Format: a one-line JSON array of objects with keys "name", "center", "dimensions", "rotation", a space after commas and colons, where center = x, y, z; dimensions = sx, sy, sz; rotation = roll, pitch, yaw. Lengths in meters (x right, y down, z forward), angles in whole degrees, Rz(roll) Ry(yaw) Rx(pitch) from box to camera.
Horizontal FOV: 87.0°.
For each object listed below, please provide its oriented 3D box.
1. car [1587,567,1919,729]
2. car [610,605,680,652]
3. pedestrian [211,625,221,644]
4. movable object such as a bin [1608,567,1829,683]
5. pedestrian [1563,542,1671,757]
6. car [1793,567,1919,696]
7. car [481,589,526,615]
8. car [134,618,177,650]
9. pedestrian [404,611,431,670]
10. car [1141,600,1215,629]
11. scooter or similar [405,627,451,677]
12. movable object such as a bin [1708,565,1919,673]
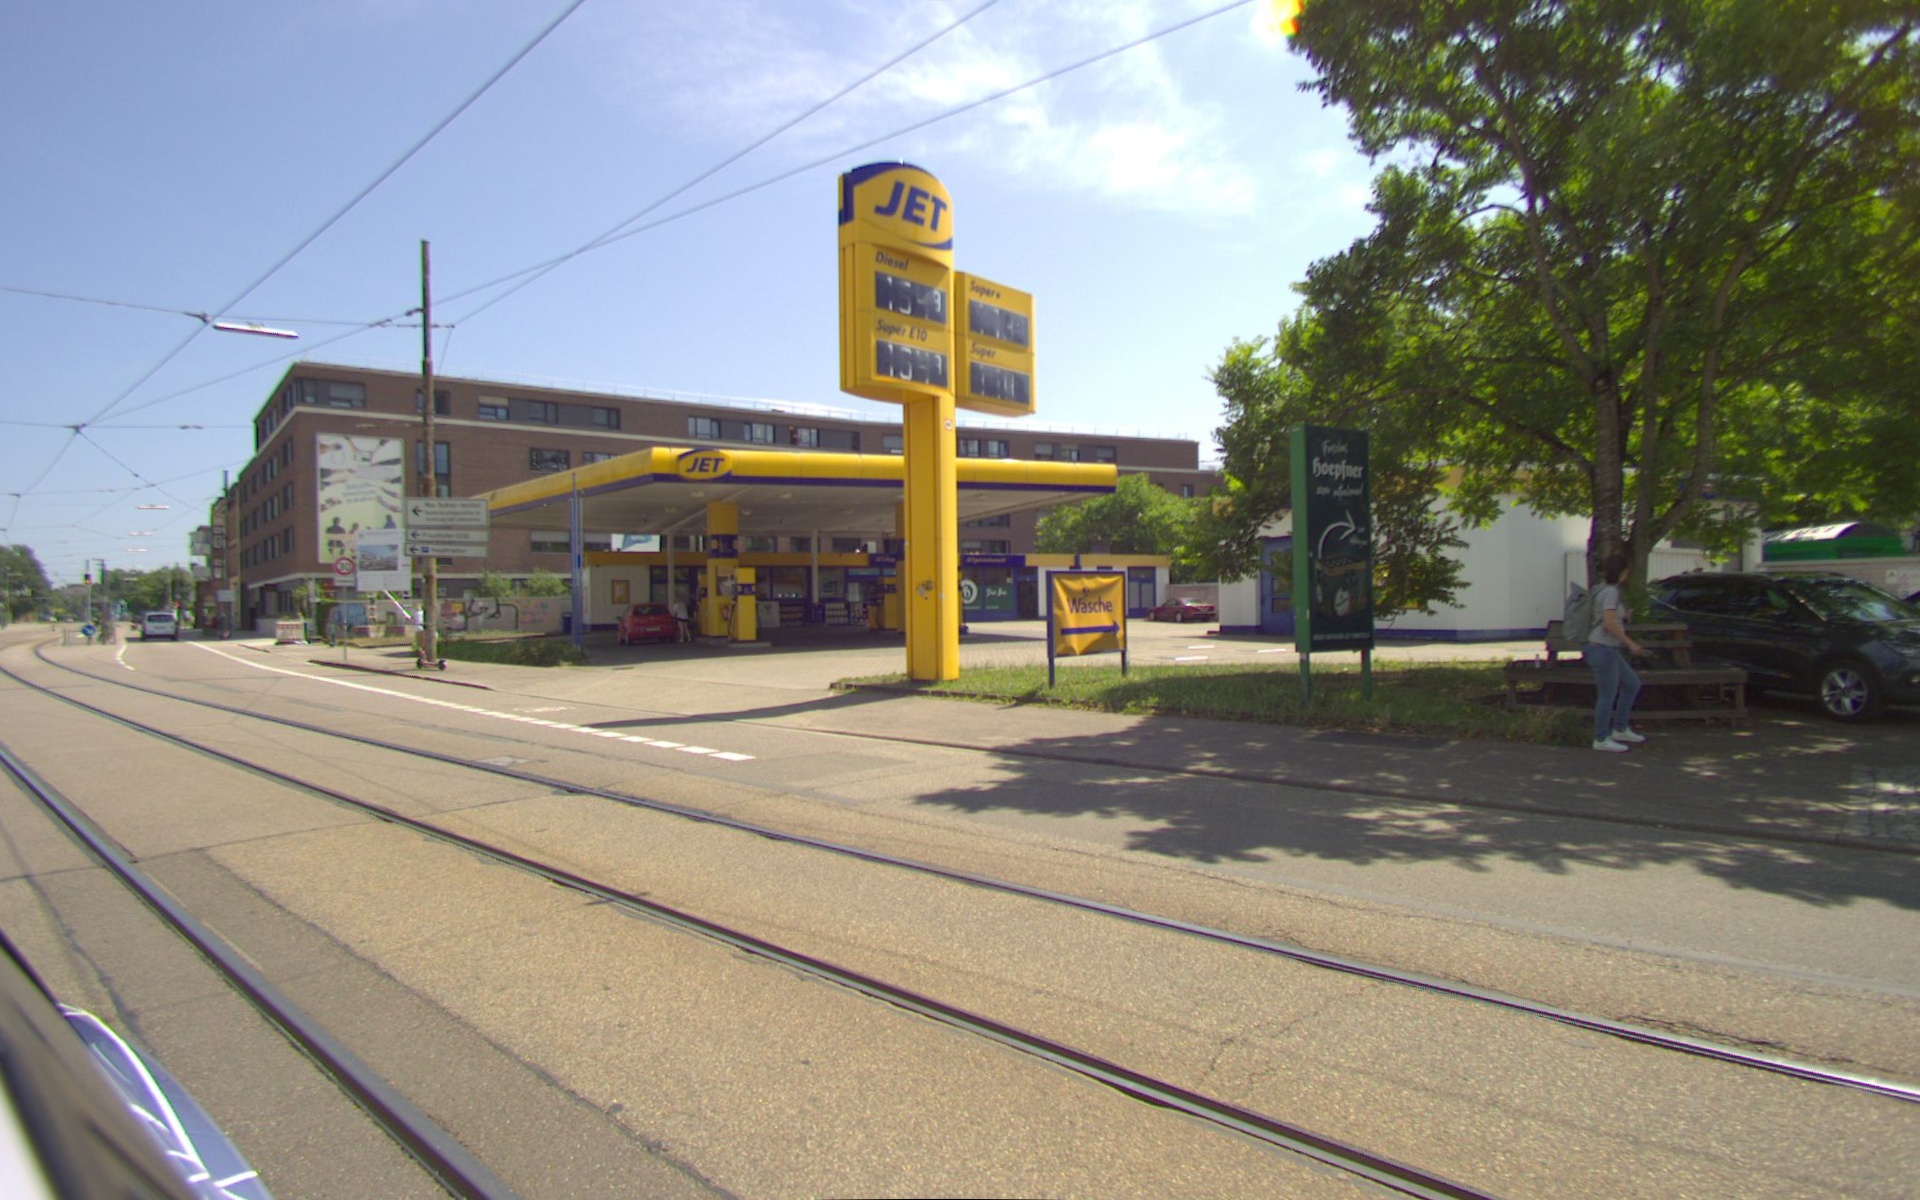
[{"name": "car", "center": [9.662, 0.414, 11.436], "dimensions": [1.905, 1.499, 4.459], "rotation": [-2, 1, -8]}, {"name": "car", "center": [-11.405, 1.015, 36.465], "dimensions": [1.800, 1.516, 4.212], "rotation": [-3, 0, -25]}, {"name": "pedestrian", "center": [-64.147, 2.939, 87.226], "dimensions": [0.596, 1.608, 0.716], "rotation": [-1, -1, -42]}, {"name": "movable object such as a bin", "center": [11.097, 0.333, 14.909], "dimensions": [1.499, 1.520, 2.106], "rotation": [-2, 1, -23]}, {"name": "pedestrian", "center": [5.770, 0.412, 8.888], "dimensions": [0.699, 1.789, 0.574], "rotation": [-2, 1, 39]}, {"name": "car", "center": [12.393, 0.363, 11.651], "dimensions": [1.909, 1.499, 4.450], "rotation": [-2, 1, 1]}, {"name": "car", "center": [-28.099, 0.139, 62.219], "dimensions": [1.709, 1.479, 4.009], "rotation": [-2, 0, -36]}, {"name": "car", "center": [-51.086, 2.105, 64.205], "dimensions": [1.969, 1.813, 4.560], "rotation": [-3, 2, -40]}, {"name": "pedestrian", "center": [-16.062, 1.188, 29.972], "dimensions": [0.616, 1.704, 0.724], "rotation": [-1, 0, -33]}, {"name": "car", "center": [11.297, 0.751, 52.764], "dimensions": [1.690, 1.420, 4.254], "rotation": [-1, 0, -21]}, {"name": "scooter or similar", "center": [-13.519, 1.300, 25.715], "dimensions": [1.375, 1.209, 0.513], "rotation": [-2, 1, 40]}, {"name": "movable object such as a bin", "center": [12.775, 0.246, 15.080], "dimensions": [1.499, 1.443, 2.106], "rotation": [-2, 1, -23]}]
